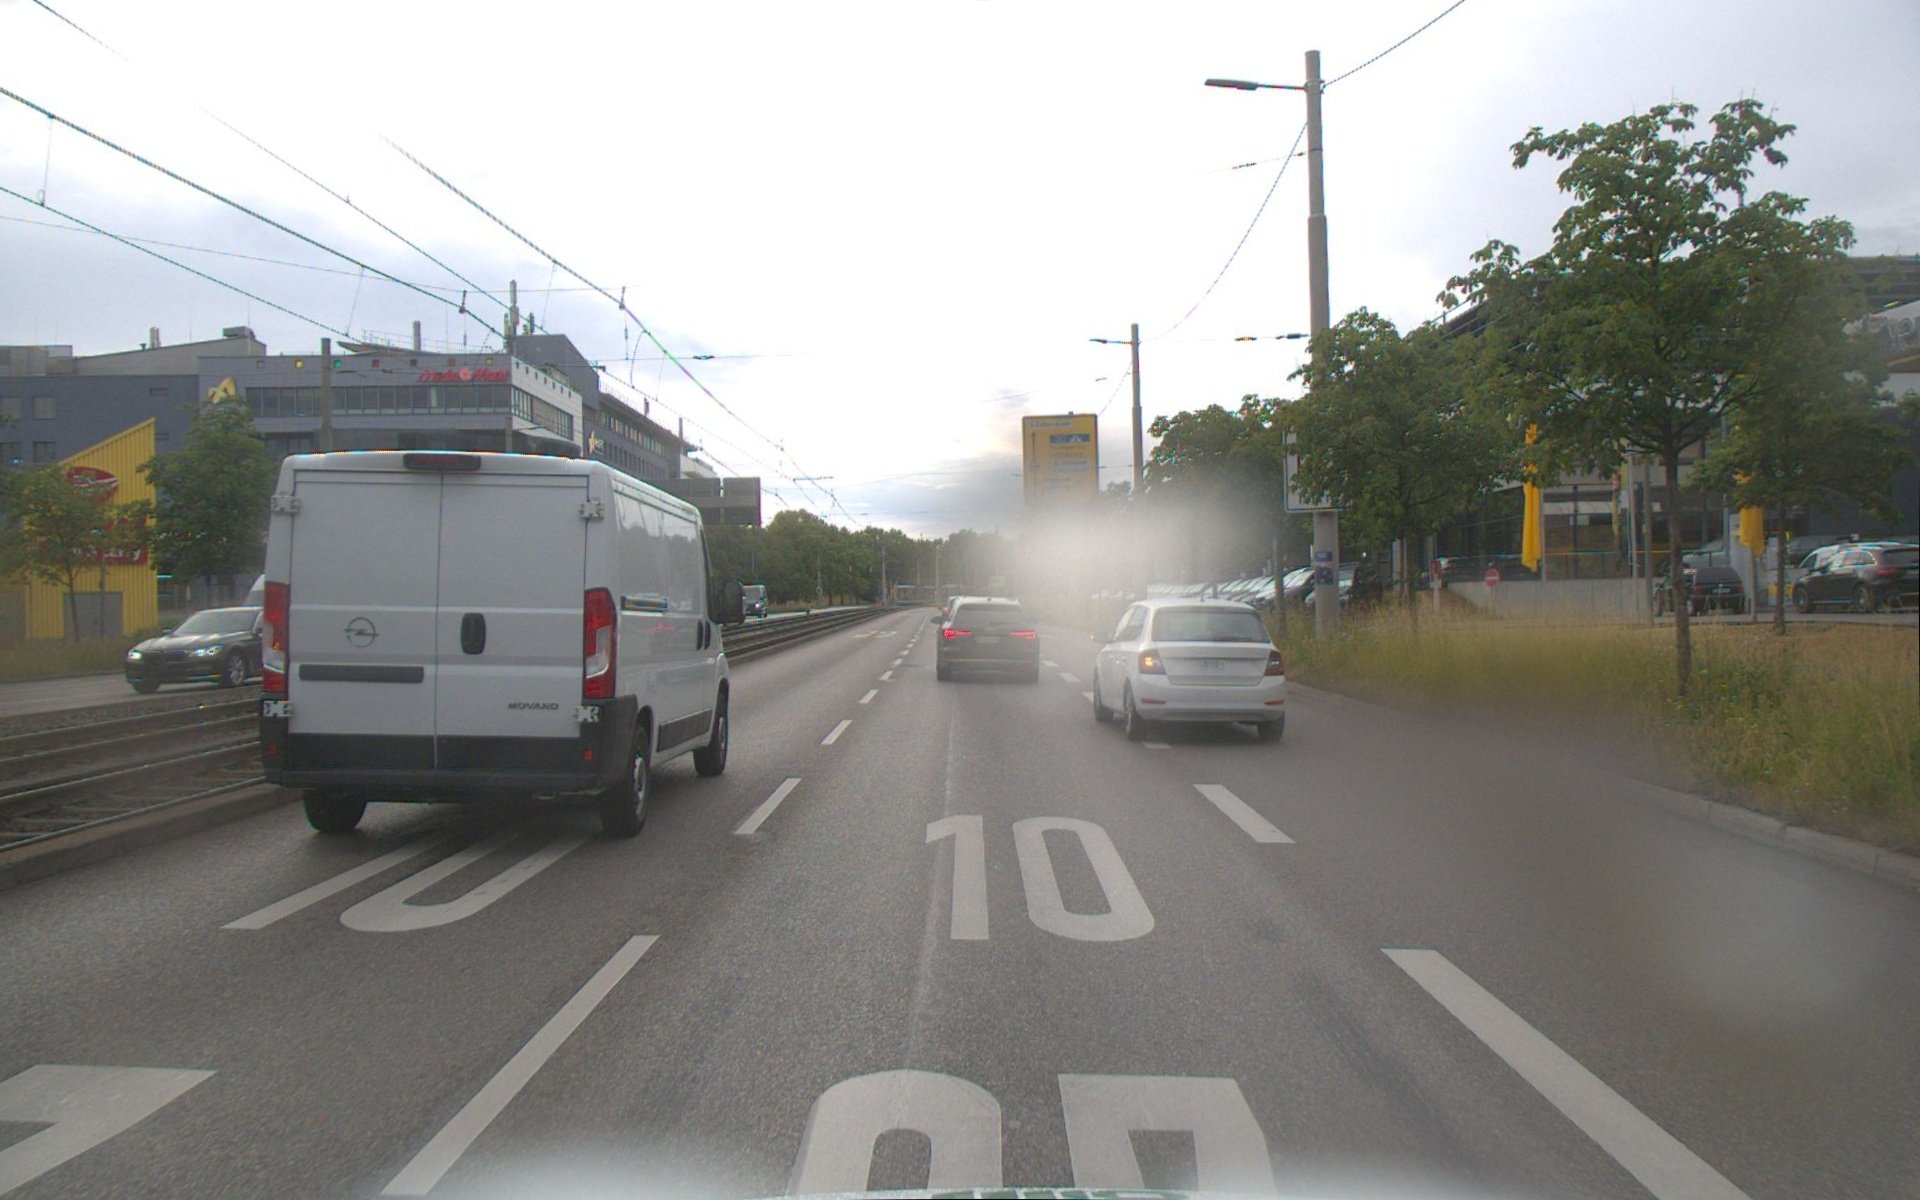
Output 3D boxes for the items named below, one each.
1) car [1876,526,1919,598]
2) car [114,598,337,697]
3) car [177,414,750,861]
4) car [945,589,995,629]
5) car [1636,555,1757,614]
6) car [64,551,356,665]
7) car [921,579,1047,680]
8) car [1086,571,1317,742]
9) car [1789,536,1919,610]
[{"bbox_3d":[28.322,-1.104,47.311,1.953,2.049,3.999,-2,0,-1],"label":"car"},{"bbox_3d":[-13.752,0.828,31.339,1.763,1.649,4.957,-2,0,3],"label":"car"},{"bbox_3d":[-2.981,0.186,11.361,2.395,2.334,4.904,2,0,0],"label":"car"},{"bbox_3d":[0.374,0.363,63.449,1.855,1.491,3.909,-1,-1,0],"label":"car"},{"bbox_3d":[21.861,-0.451,49.263,1.755,1.619,3.999,-2,0,-1],"label":"car"},{"bbox_3d":[-17.435,0.209,38.973,2.167,2.451,6.559,1,-1,22],"label":"car"},{"bbox_3d":[0.352,0.512,29.403,1.954,1.666,3.997,0,-1,-3],"label":"car"},{"bbox_3d":[2.570,0.594,18.524,1.792,1.685,3.997,1,-1,-3],"label":"car"},{"bbox_3d":[23.223,-0.673,42.305,1.953,1.758,3.999,-2,0,-1],"label":"car"}]
